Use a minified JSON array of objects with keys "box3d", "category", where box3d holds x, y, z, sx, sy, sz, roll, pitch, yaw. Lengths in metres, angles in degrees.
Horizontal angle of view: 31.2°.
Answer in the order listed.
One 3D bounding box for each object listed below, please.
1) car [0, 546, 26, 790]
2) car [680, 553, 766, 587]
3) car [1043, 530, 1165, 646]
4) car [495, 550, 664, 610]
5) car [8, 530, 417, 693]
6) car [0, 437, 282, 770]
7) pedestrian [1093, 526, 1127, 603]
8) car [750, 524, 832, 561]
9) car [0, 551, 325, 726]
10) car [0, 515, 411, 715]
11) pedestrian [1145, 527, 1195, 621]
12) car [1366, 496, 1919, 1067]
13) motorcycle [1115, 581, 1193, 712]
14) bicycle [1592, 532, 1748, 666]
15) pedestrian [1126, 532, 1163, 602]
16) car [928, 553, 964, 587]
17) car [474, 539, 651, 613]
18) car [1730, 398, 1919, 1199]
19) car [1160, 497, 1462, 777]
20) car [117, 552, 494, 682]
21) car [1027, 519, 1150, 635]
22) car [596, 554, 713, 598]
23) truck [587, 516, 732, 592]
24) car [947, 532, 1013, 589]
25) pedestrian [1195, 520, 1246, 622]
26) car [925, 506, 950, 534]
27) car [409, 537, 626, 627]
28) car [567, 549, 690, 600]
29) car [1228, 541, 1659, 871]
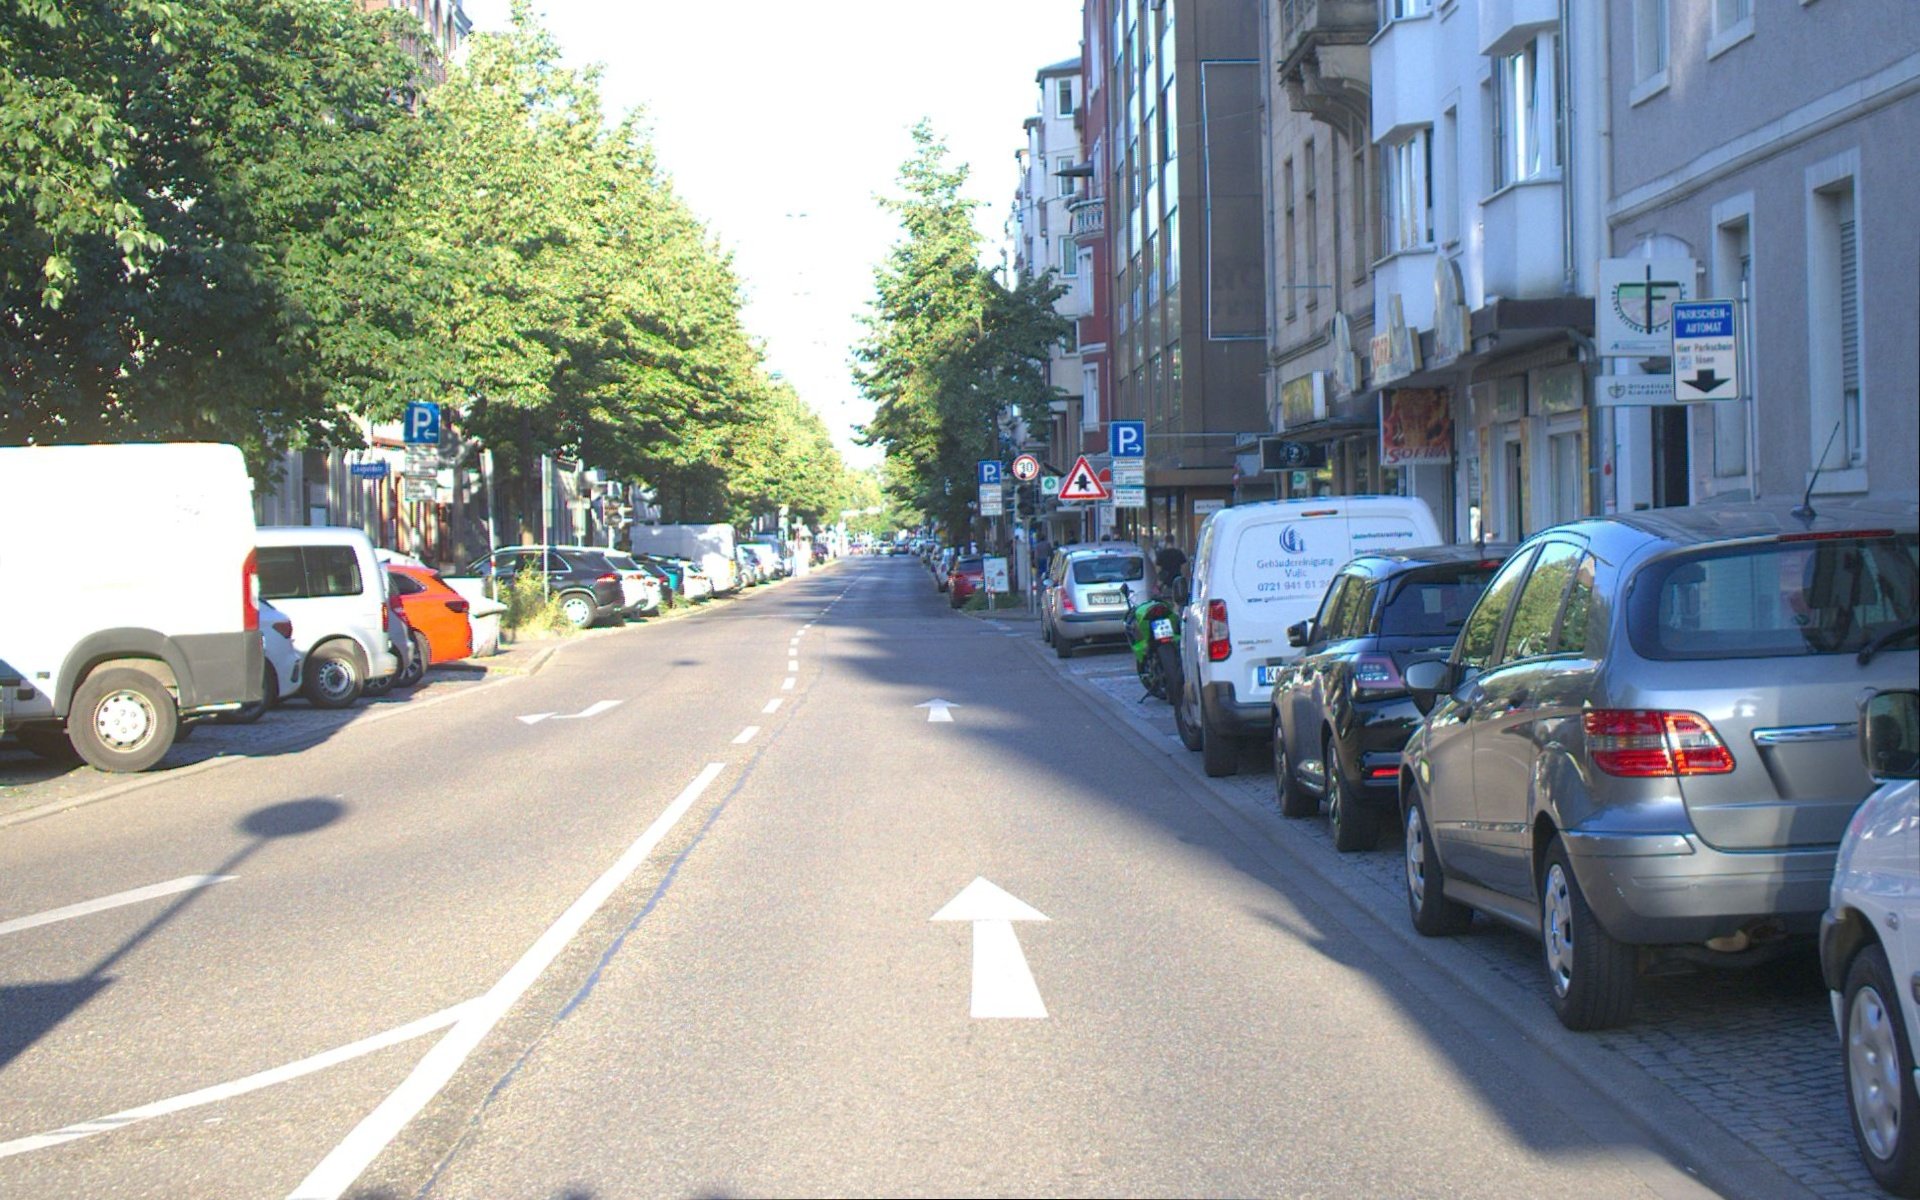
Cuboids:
[{"box3d":[-7.808,0.426,20.368,3.988,1.481,1.832,-1,2,-40],"category":"car"},{"box3d":[-10.586,-1.349,153.435,3.739,1.487,2.000,0,1,-1],"category":"car"},{"box3d":[2.094,-0.214,50.841,1.680,1.555,4.000,-2,2,1],"category":"car"},{"box3d":[-9.809,-0.518,88.837,4.175,1.502,2.000,0,1,-1],"category":"car"},{"box3d":[-8.116,0.105,37.467,3.988,1.690,1.749,0,1,-37],"category":"car"},{"box3d":[-7.293,0.010,23.981,4.598,2.243,2.203,0,1,-27],"category":"car"},{"box3d":[3.641,-0.866,83.638,0.714,1.859,0.680,-2,1,-4],"category":"pedestrian"},{"box3d":[-7.868,-2.664,160.118,3.739,1.702,2.000,0,1,-1],"category":"car"},{"box3d":[-7.896,0.307,30.673,3.988,1.487,1.849,0,1,-39],"category":"car"},{"box3d":[-7.694,0.093,34.242,3.988,1.871,1.871,-1,2,-37],"category":"car"},{"box3d":[3.702,-0.460,60.679,0.755,1.635,1.259,0,1,-2],"category":"pedestrian"},{"box3d":[2.552,0.483,12.056,1.656,1.659,4.108,0,1,-2],"category":"car"},{"box3d":[1.901,0.435,33.870,0.588,1.196,2.210,0,1,-1],"category":"motorcycle"},{"box3d":[5.507,-0.012,26.760,0.455,1.008,1.713,0,0,-15],"category":"bicycle"},{"box3d":[4.493,-0.803,83.651,0.765,1.683,0.786,-2,1,-3],"category":"pedestrian"},{"box3d":[-0.526,-1.132,129.718,1.206,1.296,2.661,0,0,-4],"category":"car"},{"box3d":[-9.322,-0.585,80.914,3.989,1.702,1.833,0,1,-1],"category":"car"},{"box3d":[2.869,0.474,6.596,1.792,1.785,4.092,-1,1,-1],"category":"car"},{"box3d":[2.416,0.186,24.594,1.710,1.828,4.306,0,1,0],"category":"car"},{"box3d":[-7.800,0.173,41.002,3.987,1.480,2.000,0,1,-30],"category":"car"},{"box3d":[2.048,-0.405,55.709,1.696,1.763,4.001,-1,1,-2],"category":"car"},{"box3d":[-10.121,-0.813,113.956,3.739,1.445,2.000,0,1,-1],"category":"car"},{"box3d":[-10.482,-1.616,120.264,4.940,2.606,2.000,0,1,-1],"category":"truck"},{"box3d":[0.564,-1.117,97.678,1.576,1.537,3.397,-3,1,-4],"category":"car"},{"box3d":[4.573,-0.513,60.341,0.755,1.761,1.222,0,1,-2],"category":"pedestrian"},{"box3d":[-1.334,-4.654,200.097,1.308,1.594,2.661,0,0,-4],"category":"car"},{"box3d":[-9.473,-0.398,73.883,4.448,1.828,2.034,0,3,-1],"category":"car"},{"box3d":[-10.476,-0.821,108.836,3.739,1.590,2.000,0,1,-1],"category":"car"},{"box3d":[2.457,0.476,18.333,1.667,1.539,3.883,0,1,-1],"category":"car"}]
